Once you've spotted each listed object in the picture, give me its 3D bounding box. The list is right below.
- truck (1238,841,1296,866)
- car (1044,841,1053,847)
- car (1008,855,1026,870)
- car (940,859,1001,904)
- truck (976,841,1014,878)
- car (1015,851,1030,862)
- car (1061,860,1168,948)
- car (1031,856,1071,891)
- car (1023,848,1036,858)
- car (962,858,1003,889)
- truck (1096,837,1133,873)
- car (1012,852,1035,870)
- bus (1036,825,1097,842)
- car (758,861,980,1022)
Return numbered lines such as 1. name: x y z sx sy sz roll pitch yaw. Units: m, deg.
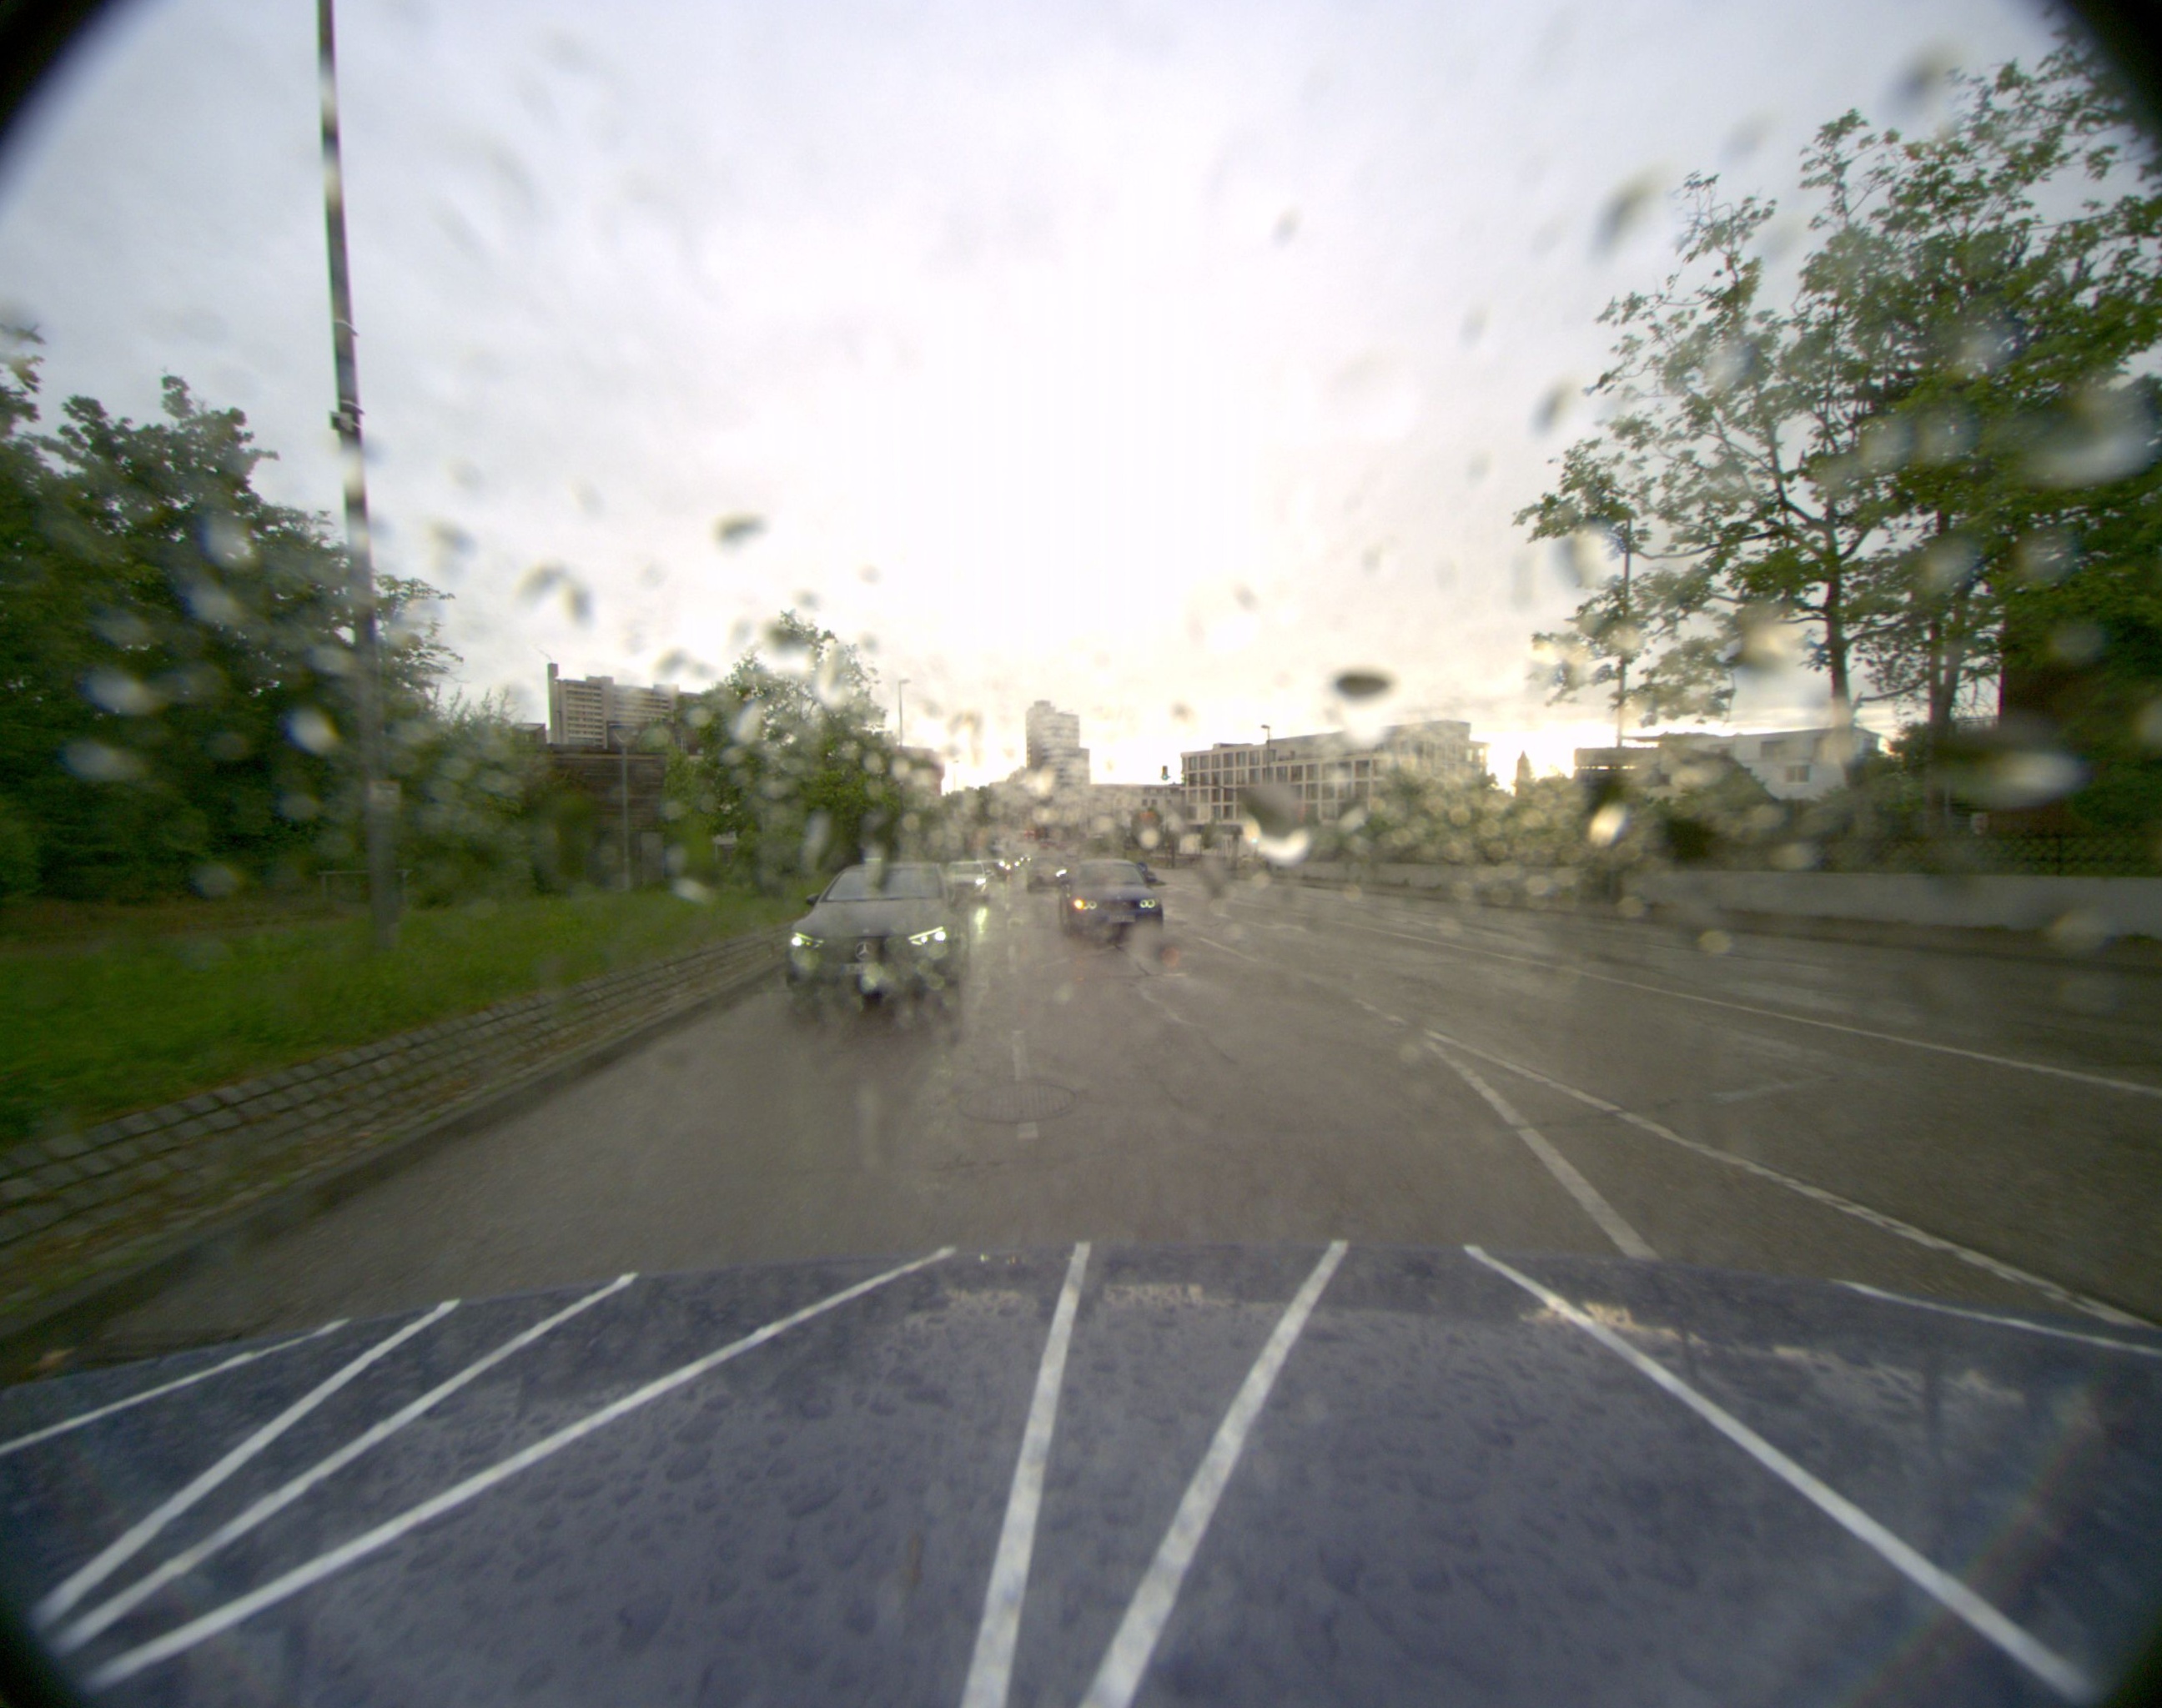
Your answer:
1. truck: 20.275 -0.052 82.573 6.185 2.524 2.222 0 2 -28
2. car: -7.673 -2.415 179.568 1.999 1.406 4.428 -1 2 -3
3. car: -7.208 0.954 86.052 1.999 1.543 3.998 -1 0 -4
4. car: -4.076 0.968 28.581 1.718 1.389 4.034 -3 1 -2
5. truck: -6.147 0.299 54.945 2.169 2.426 6.197 -1 1 -2
6. car: -8.356 0.361 108.355 1.999 1.543 3.998 -1 0 -4
7. car: 0.527 0.863 14.829 1.787 1.335 3.703 -2 1 -2
8. car: -1.359 0.853 34.925 1.718 1.369 3.733 -3 1 -2
9. car: -8.557 -0.132 125.970 1.999 1.543 3.998 -1 0 -4
10. car: -5.151 0.999 40.253 1.718 1.369 3.733 -3 1 -2
11. truck: 2.332 -0.011 54.402 2.169 2.426 6.197 -1 1 -2
12. car: -5.232 0.588 68.888 1.999 1.543 3.998 -1 0 -4
13. bus: -3.657 -4.984 183.516 2.959 3.973 18.172 -1 2 -44
14. car: -2.482 0.924 10.121 1.836 1.436 4.548 -3 1 -3
